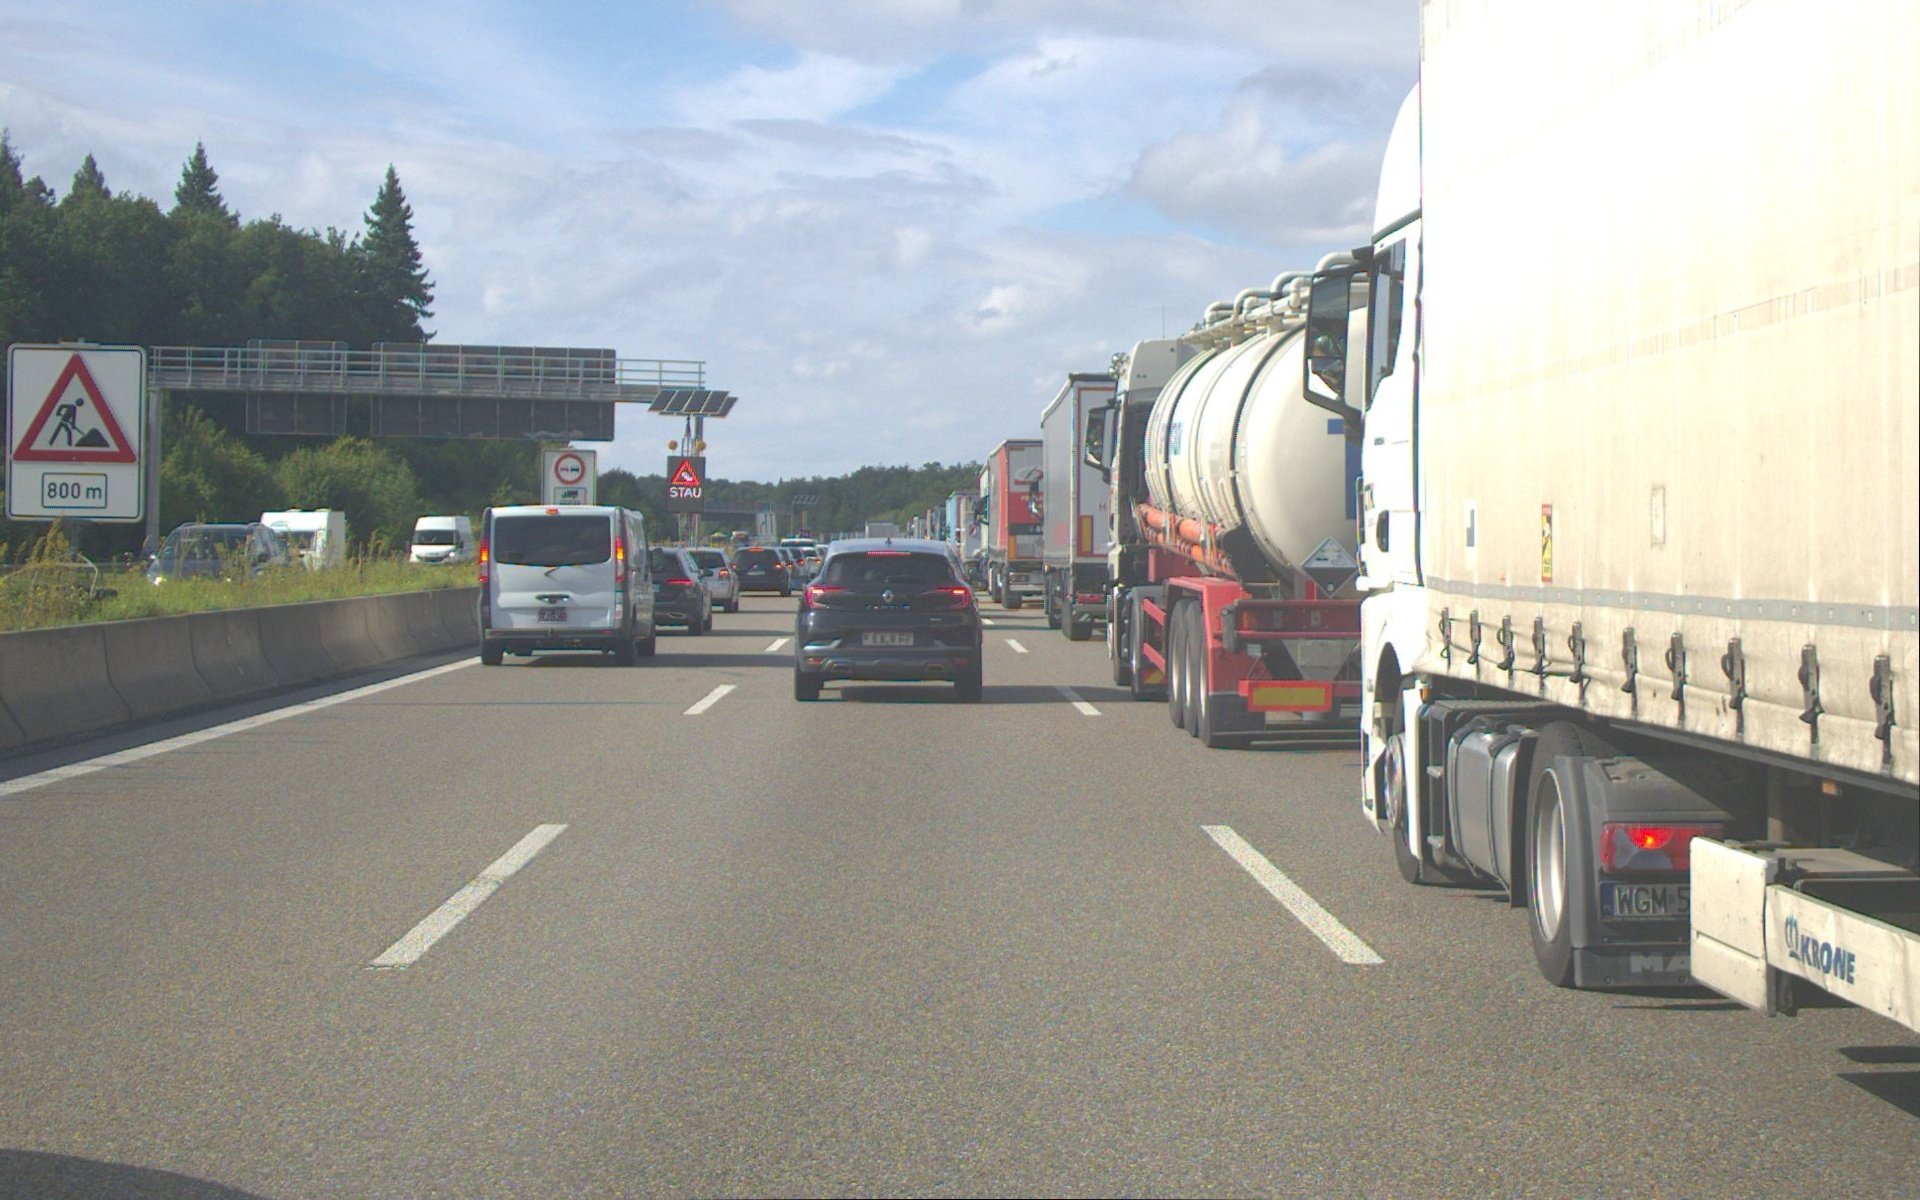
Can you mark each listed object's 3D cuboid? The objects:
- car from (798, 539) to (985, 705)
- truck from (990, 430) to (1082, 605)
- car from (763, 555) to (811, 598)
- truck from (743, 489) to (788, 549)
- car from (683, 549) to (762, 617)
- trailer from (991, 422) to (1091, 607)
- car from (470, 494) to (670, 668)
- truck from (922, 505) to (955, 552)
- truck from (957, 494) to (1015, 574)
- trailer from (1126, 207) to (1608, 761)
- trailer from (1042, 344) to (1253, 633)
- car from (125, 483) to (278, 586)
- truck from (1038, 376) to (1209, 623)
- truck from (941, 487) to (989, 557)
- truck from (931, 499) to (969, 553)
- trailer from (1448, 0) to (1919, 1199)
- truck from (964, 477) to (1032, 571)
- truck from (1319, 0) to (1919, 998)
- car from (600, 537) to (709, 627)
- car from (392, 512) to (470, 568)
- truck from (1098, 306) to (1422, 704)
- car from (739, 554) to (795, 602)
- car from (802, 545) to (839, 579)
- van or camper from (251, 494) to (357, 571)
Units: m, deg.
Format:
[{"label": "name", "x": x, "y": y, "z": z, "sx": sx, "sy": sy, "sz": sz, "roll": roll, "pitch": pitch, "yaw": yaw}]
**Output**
[{"label": "car", "x": -0.662, "y": 0.168, "z": 33.749, "sx": 1.696, "sy": 1.478, "sz": 4.160, "roll": 1, "pitch": 1, "yaw": -1}, {"label": "truck", "x": 1.900, "y": -2.065, "z": 87.814, "sx": 2.134, "sy": 4.267, "sz": 6.339, "roll": 1, "pitch": 1, "yaw": 0}, {"label": "car", "x": -5.798, "y": -0.799, "z": 115.698, "sx": 1.434, "sy": 1.305, "sz": 3.533, "roll": 4, "pitch": 1, "yaw": -1}, {"label": "truck", "x": -12.434, "y": -5.156, "z": 220.017, "sx": 2.344, "sy": 3.582, "sz": 6.306, "roll": 4, "pitch": 1, "yaw": -1}, {"label": "car", "x": -5.282, "y": -0.387, "z": 76.781, "sx": 1.500, "sy": 1.391, "sz": 3.476, "roll": 4, "pitch": 1, "yaw": -1}, {"label": "trailer", "x": 1.922, "y": -2.020, "z": 83.791, "sx": 2.150, "sy": 4.244, "sz": 8.440, "roll": 1, "pitch": 1, "yaw": 0}, {"label": "car", "x": -4.901, "y": -0.258, "z": 43.831, "sx": 1.933, "sy": 1.972, "sz": 5.099, "roll": 4, "pitch": 1, "yaw": -1}, {"label": "truck", "x": -1.433, "y": -4.775, "z": 230.390, "sx": 1.993, "sy": 3.042, "sz": 4.981, "roll": 4, "pitch": 1, "yaw": 0}, {"label": "truck", "x": 0.976, "y": -2.520, "z": 133.082, "sx": 1.993, "sy": 2.922, "sz": 4.981, "roll": 4, "pitch": 1, "yaw": 0}, {"label": "trailer", "x": 2.943, "y": -0.822, "z": 28.020, "sx": 2.541, "sy": 3.641, "sz": 10.627, "roll": 0, "pitch": 1, "yaw": -1}, {"label": "trailer", "x": 2.873, "y": -1.685, "z": 55.791, "sx": 2.802, "sy": 4.229, "sz": 11.057, "roll": 0, "pitch": 1, "yaw": 0}, {"label": "car", "x": -12.734, "y": -1.090, "z": 57.905, "sx": 1.669, "sy": 1.576, "sz": 4.000, "roll": 4, "pitch": 1, "yaw": -1}, {"label": "truck", "x": 2.877, "y": -1.753, "z": 62.198, "sx": 2.786, "sy": 4.232, "sz": 6.459, "roll": 0, "pitch": 1, "yaw": 0}, {"label": "truck", "x": 0.232, "y": -3.576, "z": 158.652, "sx": 1.993, "sy": 3.042, "sz": 4.981, "roll": 4, "pitch": 1, "yaw": 0}, {"label": "truck", "x": -0.605, "y": -4.350, "z": 203.177, "sx": 1.993, "sy": 3.042, "sz": 4.981, "roll": 4, "pitch": 1, "yaw": 0}, {"label": "trailer", "x": 3.293, "y": -0.699, "z": 6.632, "sx": 2.703, "sy": 4.068, "sz": 12.945, "roll": 0, "pitch": 1, "yaw": -1}, {"label": "truck", "x": 1.237, "y": -2.506, "z": 114.495, "sx": 1.993, "sy": 2.922, "sz": 4.981, "roll": 4, "pitch": 1, "yaw": 0}, {"label": "truck", "x": 3.190, "y": -0.808, "z": 13.975, "sx": 2.708, "sy": 4.046, "sz": 6.362, "roll": 0, "pitch": 1, "yaw": -1}, {"label": "car", "x": -5.022, "y": -0.302, "z": 56.826, "sx": 1.500, "sy": 1.391, "sz": 3.476, "roll": 2, "pitch": 1, "yaw": -1}, {"label": "car", "x": -22.389, "y": -2.525, "z": 145.693, "sx": 2.315, "sy": 2.185, "sz": 6.864, "roll": 4, "pitch": 1, "yaw": -2}, {"label": "truck", "x": 2.844, "y": -0.898, "z": 34.360, "sx": 2.533, "sy": 3.571, "sz": 6.730, "roll": 0, "pitch": 1, "yaw": -1}, {"label": "car", "x": -5.677, "y": -0.645, "z": 101.382, "sx": 1.434, "sy": 1.305, "sz": 3.533, "roll": 4, "pitch": 1, "yaw": -1}, {"label": "car", "x": -5.723, "y": -1.563, "z": 140.890, "sx": 1.361, "sy": 1.296, "sz": 3.085, "roll": 4, "pitch": 1, "yaw": -1}, {"label": "van or camper", "x": -21.282, "y": -2.156, "z": 111.712, "sx": 2.459, "sy": 2.405, "sz": 5.853, "roll": 1, "pitch": 1, "yaw": -2}]
